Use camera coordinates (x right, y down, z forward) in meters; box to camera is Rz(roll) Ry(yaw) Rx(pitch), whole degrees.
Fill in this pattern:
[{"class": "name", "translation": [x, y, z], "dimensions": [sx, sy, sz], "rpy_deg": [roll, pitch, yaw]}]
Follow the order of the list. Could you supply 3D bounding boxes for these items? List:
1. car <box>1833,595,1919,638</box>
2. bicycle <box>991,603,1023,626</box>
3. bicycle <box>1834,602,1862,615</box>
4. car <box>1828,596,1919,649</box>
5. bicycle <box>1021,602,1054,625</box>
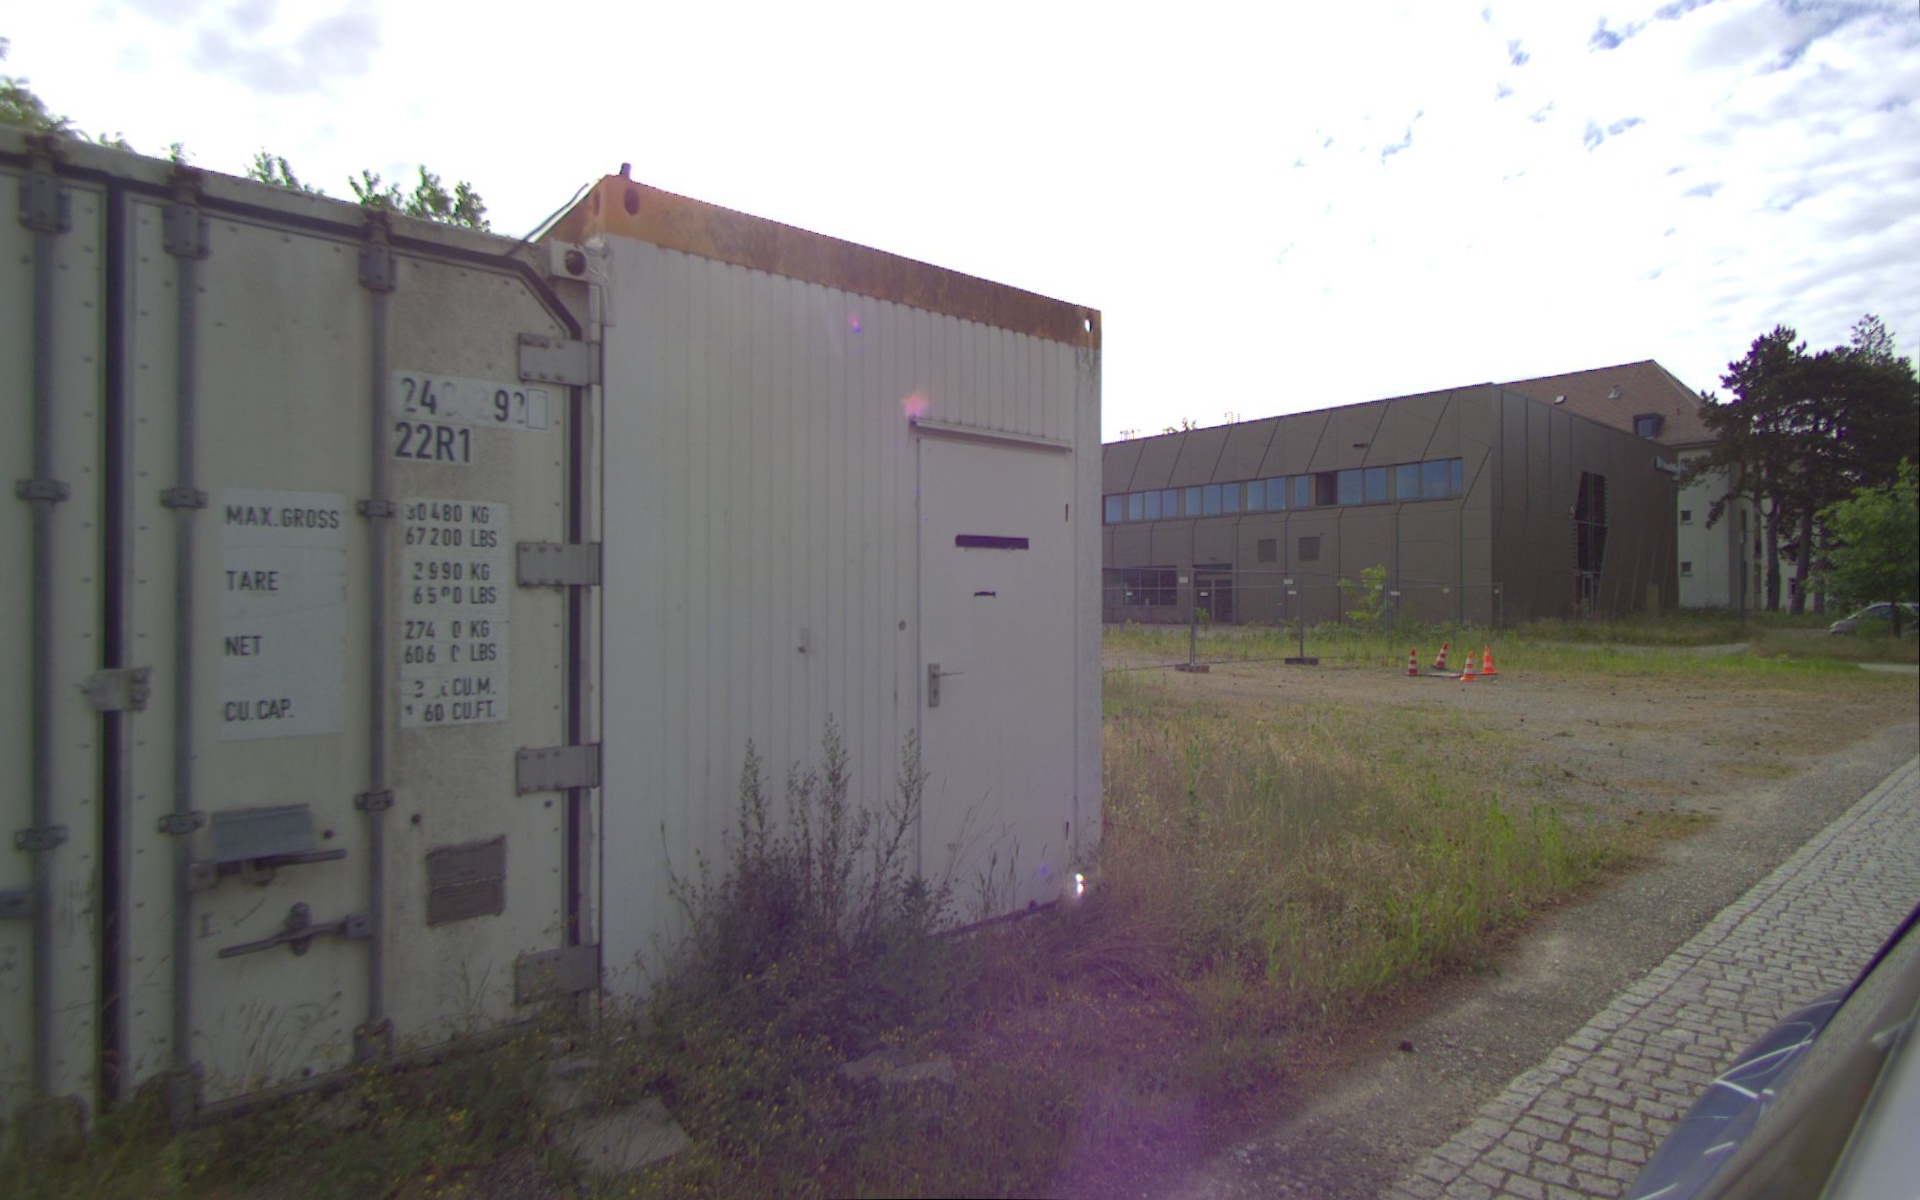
[{"class": "car", "translation": [34.975, 0.616, 36.977], "dimensions": [1.799, 1.493, 4.496], "rpy_deg": [0, 1, -43]}, {"class": "bicycle", "translation": [2.380, 0.728, 50.957], "dimensions": [1.624, 1.099, 0.512], "rpy_deg": [0, -1, -32]}, {"class": "bicycle", "translation": [71.925, 0.676, 81.981], "dimensions": [0.604, 1.099, 1.652], "rpy_deg": [0, -1, -44]}, {"class": "car", "translation": [29.620, 0.688, 32.244], "dimensions": [1.623, 1.576, 2.717], "rpy_deg": [0, 1, -38]}, {"class": "bicycle", "translation": [3.765, 0.646, 49.156], "dimensions": [1.624, 1.099, 0.512], "rpy_deg": [0, -1, -32]}]
